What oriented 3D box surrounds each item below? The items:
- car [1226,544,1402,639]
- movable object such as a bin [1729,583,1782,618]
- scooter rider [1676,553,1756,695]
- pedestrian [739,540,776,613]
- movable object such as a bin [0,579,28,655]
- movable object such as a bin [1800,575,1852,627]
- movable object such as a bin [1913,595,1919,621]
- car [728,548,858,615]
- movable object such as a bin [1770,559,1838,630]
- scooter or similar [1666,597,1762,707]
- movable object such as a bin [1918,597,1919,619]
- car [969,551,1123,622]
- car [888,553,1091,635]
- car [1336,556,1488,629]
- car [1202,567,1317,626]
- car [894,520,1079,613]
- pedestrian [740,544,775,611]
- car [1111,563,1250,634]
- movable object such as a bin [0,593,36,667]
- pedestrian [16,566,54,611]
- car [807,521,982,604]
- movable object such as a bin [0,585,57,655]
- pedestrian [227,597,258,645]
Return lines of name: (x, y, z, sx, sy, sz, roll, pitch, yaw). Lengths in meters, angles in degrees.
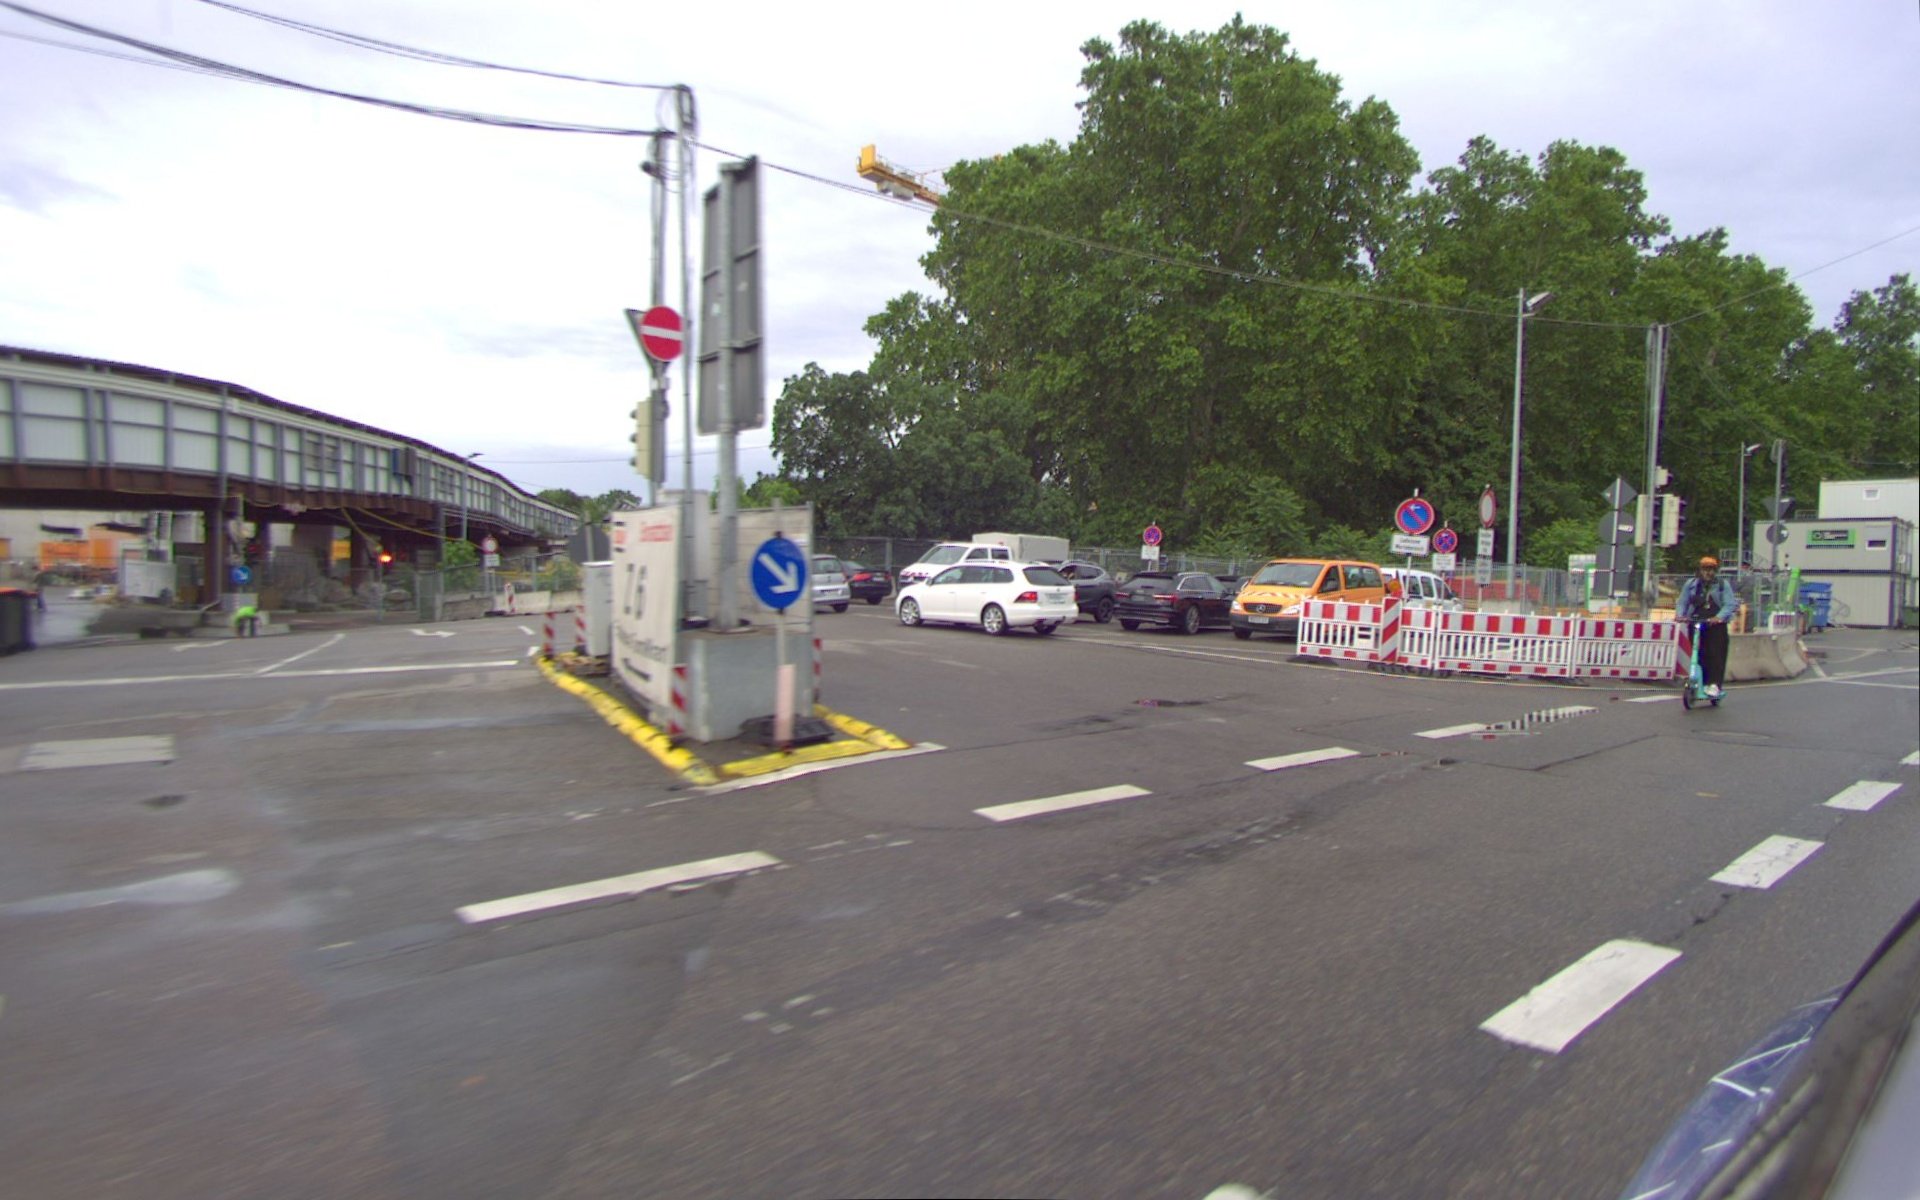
car: (8.417, -0.240, 23.776, 1.913, 1.999, 5.080, 2, 2, 45)
movable object such as a bin: (31.890, 0.008, 40.588, 1.238, 1.361, 1.182, 1, 0, -20)
scooter rider: (10.009, 0.288, 13.394, 0.979, 1.808, 0.599, -1, 1, -38)
pedestrian: (-5.010, -0.598, 25.046, 0.806, 1.754, 0.710, -1, 4, -16)
movable object such as a bin: (-15.205, 0.267, 15.795, 0.732, 1.114, 0.995, -3, 5, -31)
movable object such as a bin: (38.466, 0.034, 44.990, 1.447, 2.231, 1.253, 1, 0, 27)
movable object such as a bin: (50.007, 0.438, 52.042, 1.218, 1.251, 1.250, -4, 6, -40)
car: (-4.352, -0.539, 26.162, 3.343, 1.498, 1.603, 4, 6, 42)
movable object such as a bin: (35.514, -0.235, 42.556, 1.808, 2.845, 3.803, 1, 1, 45)
scooter or similar: (9.990, 0.643, 13.392, 1.637, 1.335, 0.599, -1, 2, -38)
movable object such as a bin: (52.171, 0.448, 54.099, 1.218, 1.136, 1.250, -4, 6, -40)
car: (2.260, -0.380, 25.988, 1.940, 1.639, 3.873, 4, 4, 44)
car: (0.521, -0.191, 21.172, 1.785, 1.470, 4.207, 0, 3, -43)
car: (12.563, -0.192, 27.958, 4.996, 1.829, 1.850, 1, 1, -40)
car: (9.600, -0.175, 32.273, 3.935, 1.577, 1.762, -4, 6, -43)
car: (0.866, -0.973, 28.494, 2.045, 2.341, 5.519, 4, 4, 43)
pedestrian: (-5.159, -0.580, 25.752, 0.802, 1.655, 0.710, -1, 4, -16)
car: (5.440, -0.113, 24.648, 1.907, 1.468, 3.863, 5, 5, 35)
movable object such as a bin: (-15.875, 0.493, 16.685, 0.716, 1.114, 0.995, -3, 5, -31)
pedestrian: (-38.388, -0.475, 42.007, 0.749, 1.787, 1.016, 4, 5, 41)
car: (-1.944, -1.190, 31.601, 2.045, 2.341, 5.519, 4, 4, 43)
movable object such as a bin: (-16.380, 0.334, 17.645, 0.716, 1.114, 0.995, -3, 5, -31)
pedestrian: (-21.464, 0.622, 30.284, 0.615, 1.354, 0.550, 3, 5, 39)
